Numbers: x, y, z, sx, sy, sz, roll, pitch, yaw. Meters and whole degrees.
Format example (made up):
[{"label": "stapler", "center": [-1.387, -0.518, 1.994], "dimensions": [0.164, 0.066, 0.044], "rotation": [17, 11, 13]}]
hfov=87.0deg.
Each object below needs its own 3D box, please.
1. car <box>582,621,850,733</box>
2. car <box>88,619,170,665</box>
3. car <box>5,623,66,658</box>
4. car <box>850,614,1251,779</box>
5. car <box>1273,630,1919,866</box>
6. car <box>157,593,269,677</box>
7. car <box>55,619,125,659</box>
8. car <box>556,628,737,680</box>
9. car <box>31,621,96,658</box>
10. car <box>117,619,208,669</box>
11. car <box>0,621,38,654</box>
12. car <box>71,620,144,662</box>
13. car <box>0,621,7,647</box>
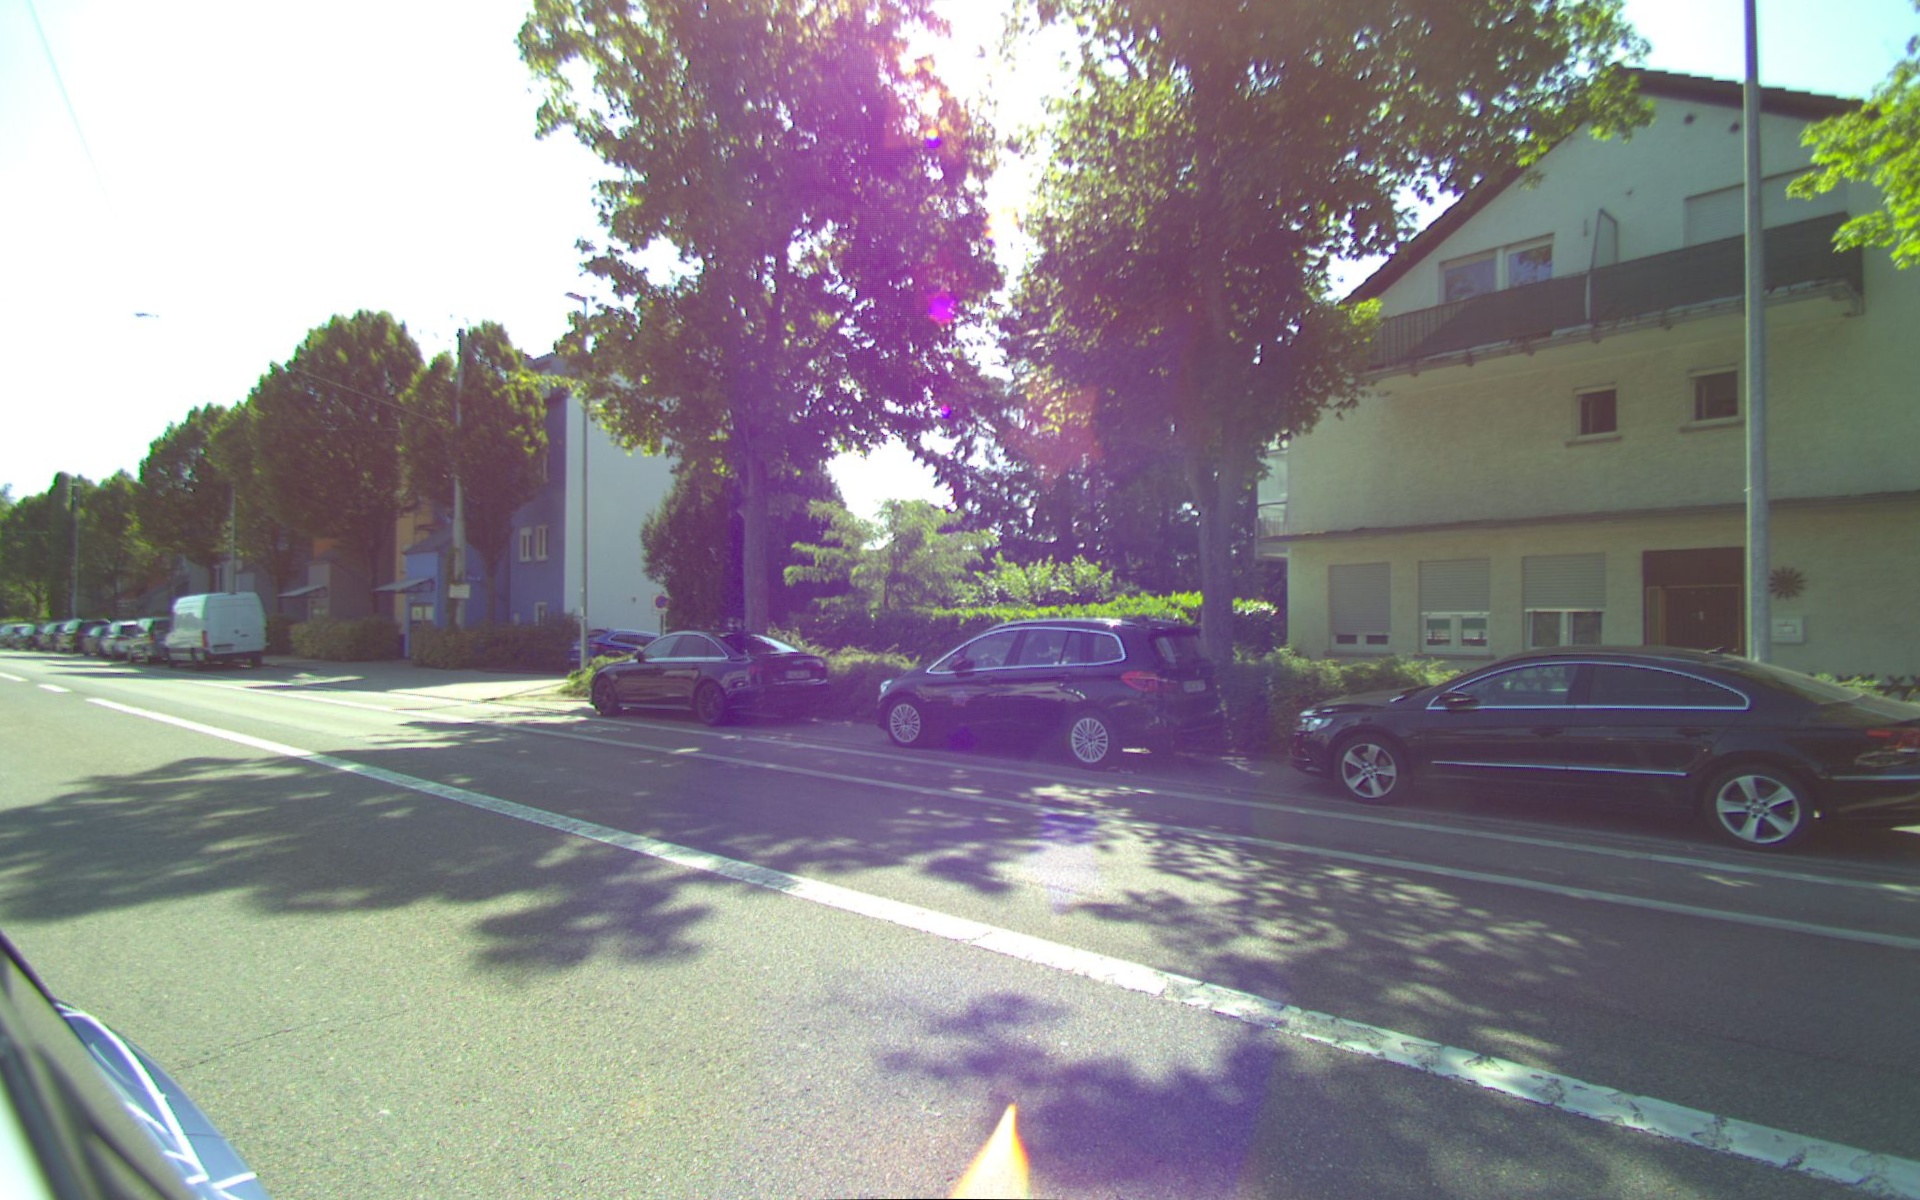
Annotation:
[{"label": "car", "center": [-4.082, 1.148, 16.512], "dimensions": [4.616, 1.583, 1.845], "rotation": [-1, -2, 39]}, {"label": "car", "center": [-38.060, 1.885, 46.315], "dimensions": [4.766, 1.818, 1.974], "rotation": [-2, 4, 41]}, {"label": "car", "center": [-54.913, 2.394, 60.092], "dimensions": [4.766, 1.818, 1.974], "rotation": [-2, 4, 41]}, {"label": "car", "center": [0.933, 1.007, 12.246], "dimensions": [4.619, 1.583, 1.844], "rotation": [-1, 0, 41]}, {"label": "car", "center": [5.205, 1.000, 8.417], "dimensions": [4.619, 1.426, 1.844], "rotation": [-1, 0, 41]}, {"label": "car", "center": [-27.361, 1.241, 36.967], "dimensions": [6.213, 2.713, 1.973], "rotation": [-2, 4, 43]}, {"label": "car", "center": [-45.740, 2.014, 53.169], "dimensions": [4.766, 1.818, 1.974], "rotation": [-2, 4, 41]}, {"label": "car", "center": [-9.480, 1.611, 30.947], "dimensions": [1.891, 1.441, 5.002], "rotation": [-2, -3, 44]}, {"label": "car", "center": [-50.235, 2.207, 56.672], "dimensions": [4.766, 1.818, 1.974], "rotation": [-2, 4, 41]}, {"label": "car", "center": [-33.522, 1.817, 42.499], "dimensions": [4.766, 1.818, 1.974], "rotation": [-2, 4, 41]}, {"label": "car", "center": [-60.268, 2.374, 64.198], "dimensions": [4.766, 1.818, 1.974], "rotation": [-2, 4, 41]}, {"label": "car", "center": [-42.129, 1.996, 49.989], "dimensions": [4.254, 1.818, 1.974], "rotation": [-2, 4, 41]}, {"label": "car", "center": [-68.760, 2.487, 71.115], "dimensions": [4.766, 1.818, 1.974], "rotation": [-2, 4, 41]}]
